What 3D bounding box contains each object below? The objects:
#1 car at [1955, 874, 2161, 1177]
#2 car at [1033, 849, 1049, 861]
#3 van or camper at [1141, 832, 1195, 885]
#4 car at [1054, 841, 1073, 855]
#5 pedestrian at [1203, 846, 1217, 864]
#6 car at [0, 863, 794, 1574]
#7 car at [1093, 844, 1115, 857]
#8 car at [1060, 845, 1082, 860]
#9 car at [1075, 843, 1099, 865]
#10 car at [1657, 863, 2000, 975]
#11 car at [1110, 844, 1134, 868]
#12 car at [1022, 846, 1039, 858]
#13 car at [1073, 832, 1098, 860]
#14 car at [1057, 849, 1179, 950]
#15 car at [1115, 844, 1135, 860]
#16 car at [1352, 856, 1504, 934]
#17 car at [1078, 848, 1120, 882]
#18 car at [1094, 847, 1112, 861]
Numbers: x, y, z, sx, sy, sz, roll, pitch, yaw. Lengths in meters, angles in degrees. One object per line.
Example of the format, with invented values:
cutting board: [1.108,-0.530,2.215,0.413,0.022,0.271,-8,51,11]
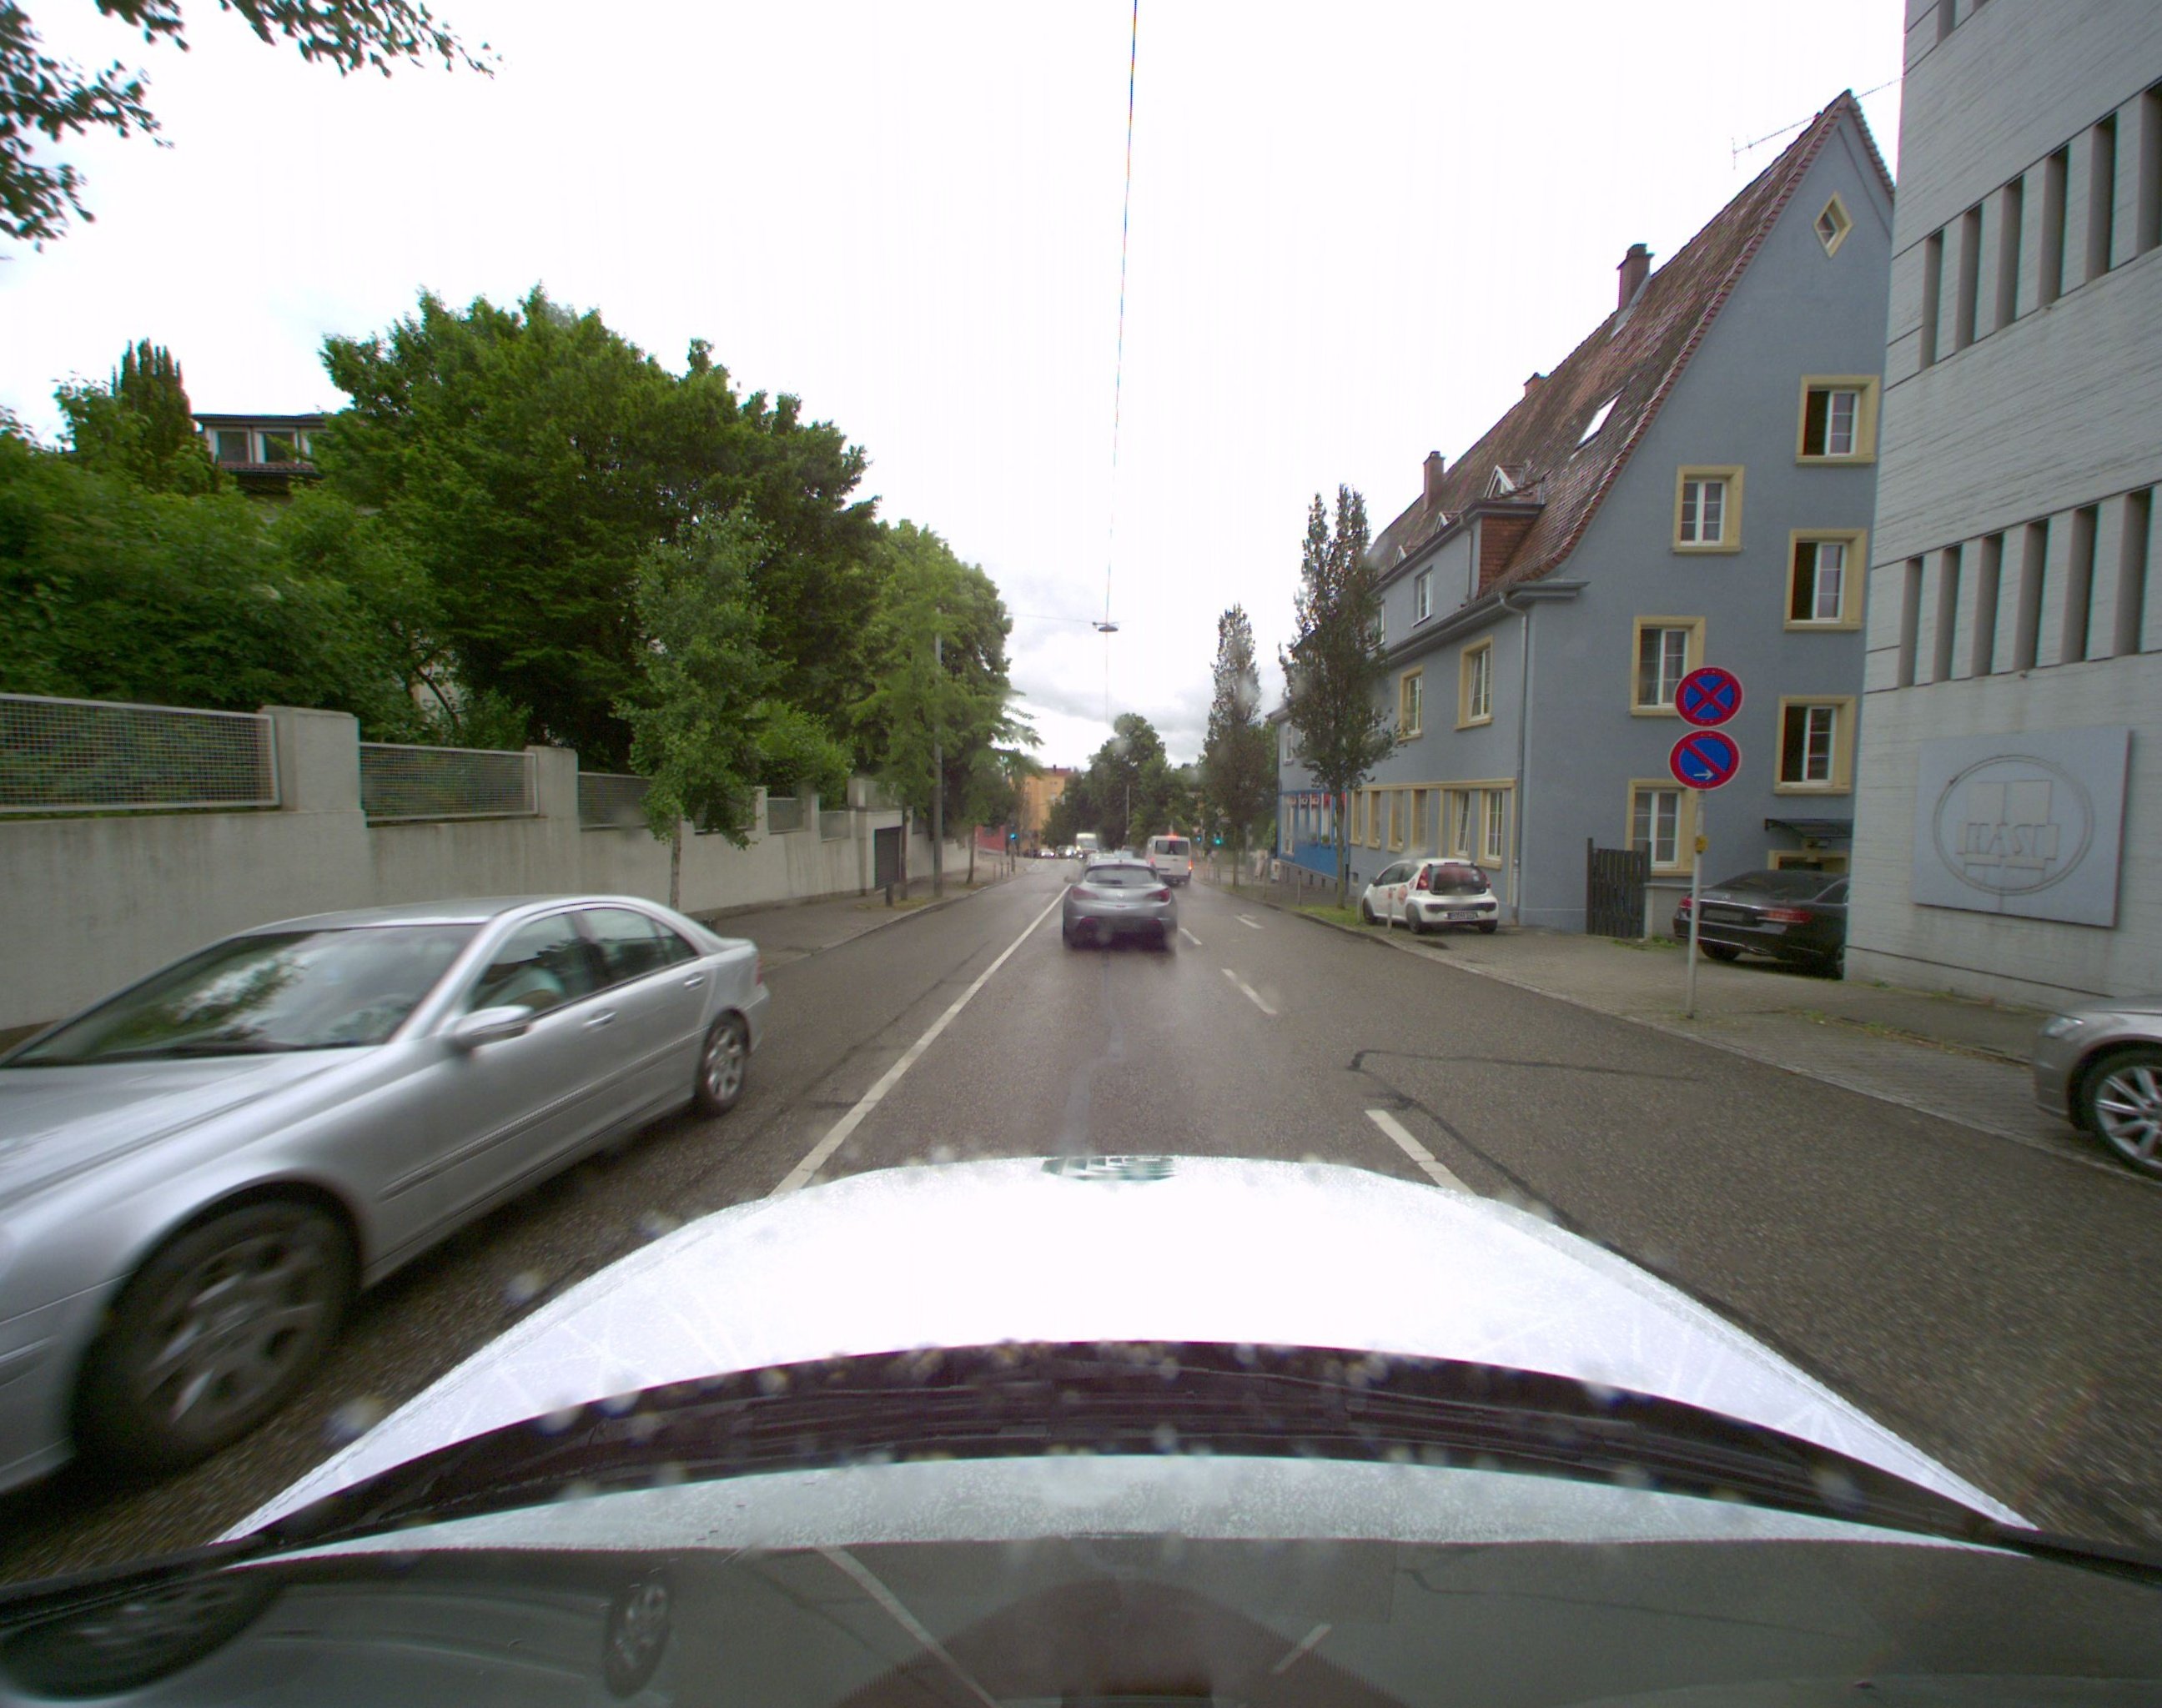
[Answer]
car: [6.232,0.874,2.595,1.809,1.459,4.740,1,0,-1]
car: [-5.605,0.134,113.309,1.774,1.497,4.248,2,-1,-10]
van or camper: [4.150,0.206,39.796,2.096,2.326,5.419,3,0,2]
car: [-2.571,-0.883,116.561,1.785,1.855,3.980,2,-1,-15]
pedestrian: [11.470,0.075,72.570,0.769,1.605,0.958,-1,0,-24]
car: [-3.043,0.813,3.804,1.713,1.384,4.286,-3,0,2]
car: [2.995,-0.425,107.599,1.818,1.495,3.980,-4,0,-14]
car: [-1.172,-0.159,94.512,1.874,1.575,4.572,1,0,-9]
car: [0.463,-0.017,68.092,1.816,1.652,4.344,2,1,-1]
car: [10.957,0.876,11.977,4.365,1.407,1.798,1,0,-18]
car: [2.564,0.111,51.352,1.378,1.411,3.456,0,0,0]
car: [-8.574,-0.311,137.905,1.997,2.014,3.980,1,-1,-14]
car: [0.377,-0.740,77.534,2.112,2.545,5.536,1,0,-2]
car: [0.618,0.681,14.334,1.808,1.429,4.002,2,1,2]
car: [4.231,-0.150,78.385,1.615,1.486,3.434,1,-1,-1]
car: [7.100,0.767,17.025,1.582,1.411,3.453,-1,0,-2]
car: [0.801,0.467,36.373,1.770,1.430,3.786,0,0,1]
car: [2.451,0.011,92.738,1.618,1.486,3.429,1,-1,-5]
